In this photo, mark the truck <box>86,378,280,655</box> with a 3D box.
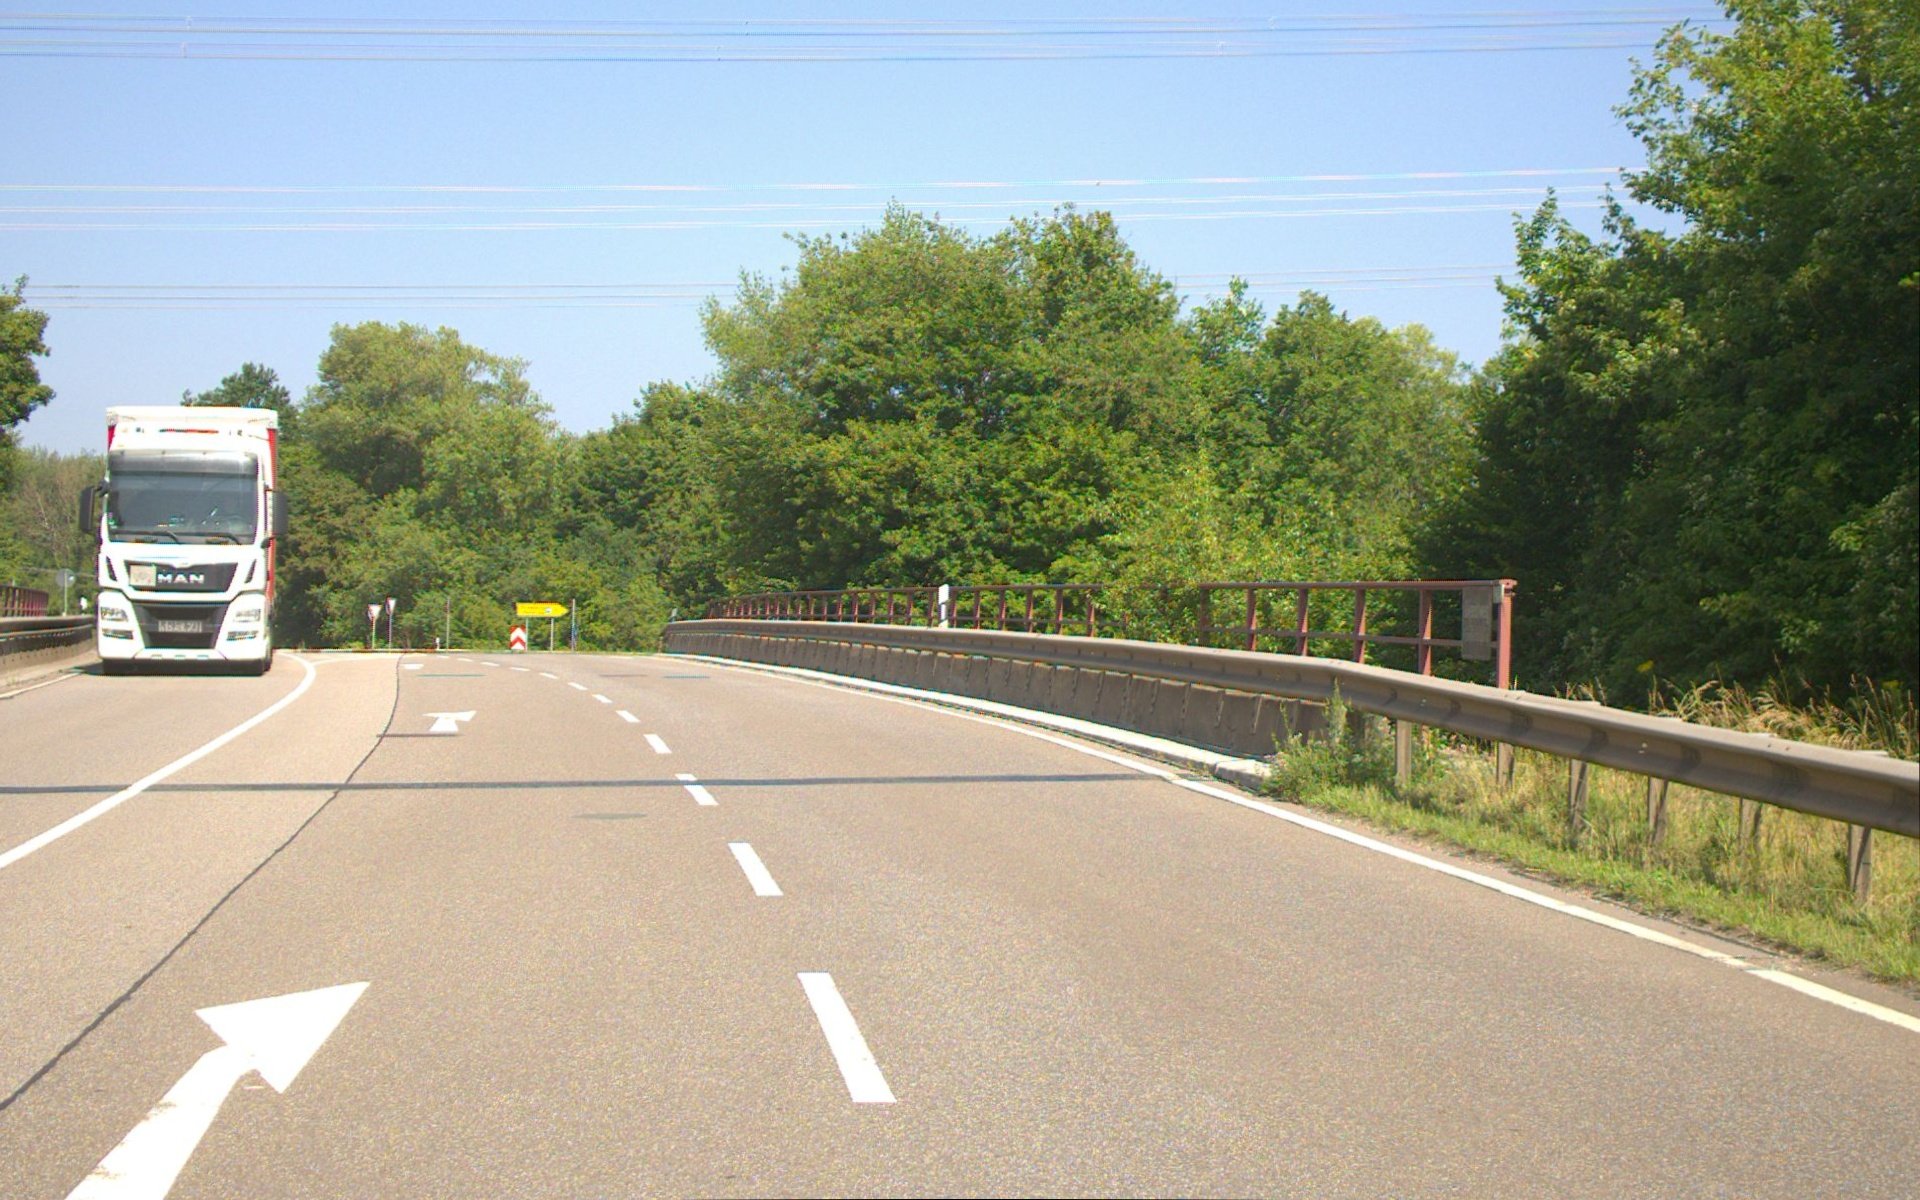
[{"bbox_3d":[-11.925,-1.198,53.068,2.768,4.020,5.857,0,0,-12],"label":"truck"}]

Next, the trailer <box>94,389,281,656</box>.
[{"bbox_3d":[-13.207,-1.177,59.366,2.767,4.048,14.203,0,0,-12],"label":"trailer"}]
